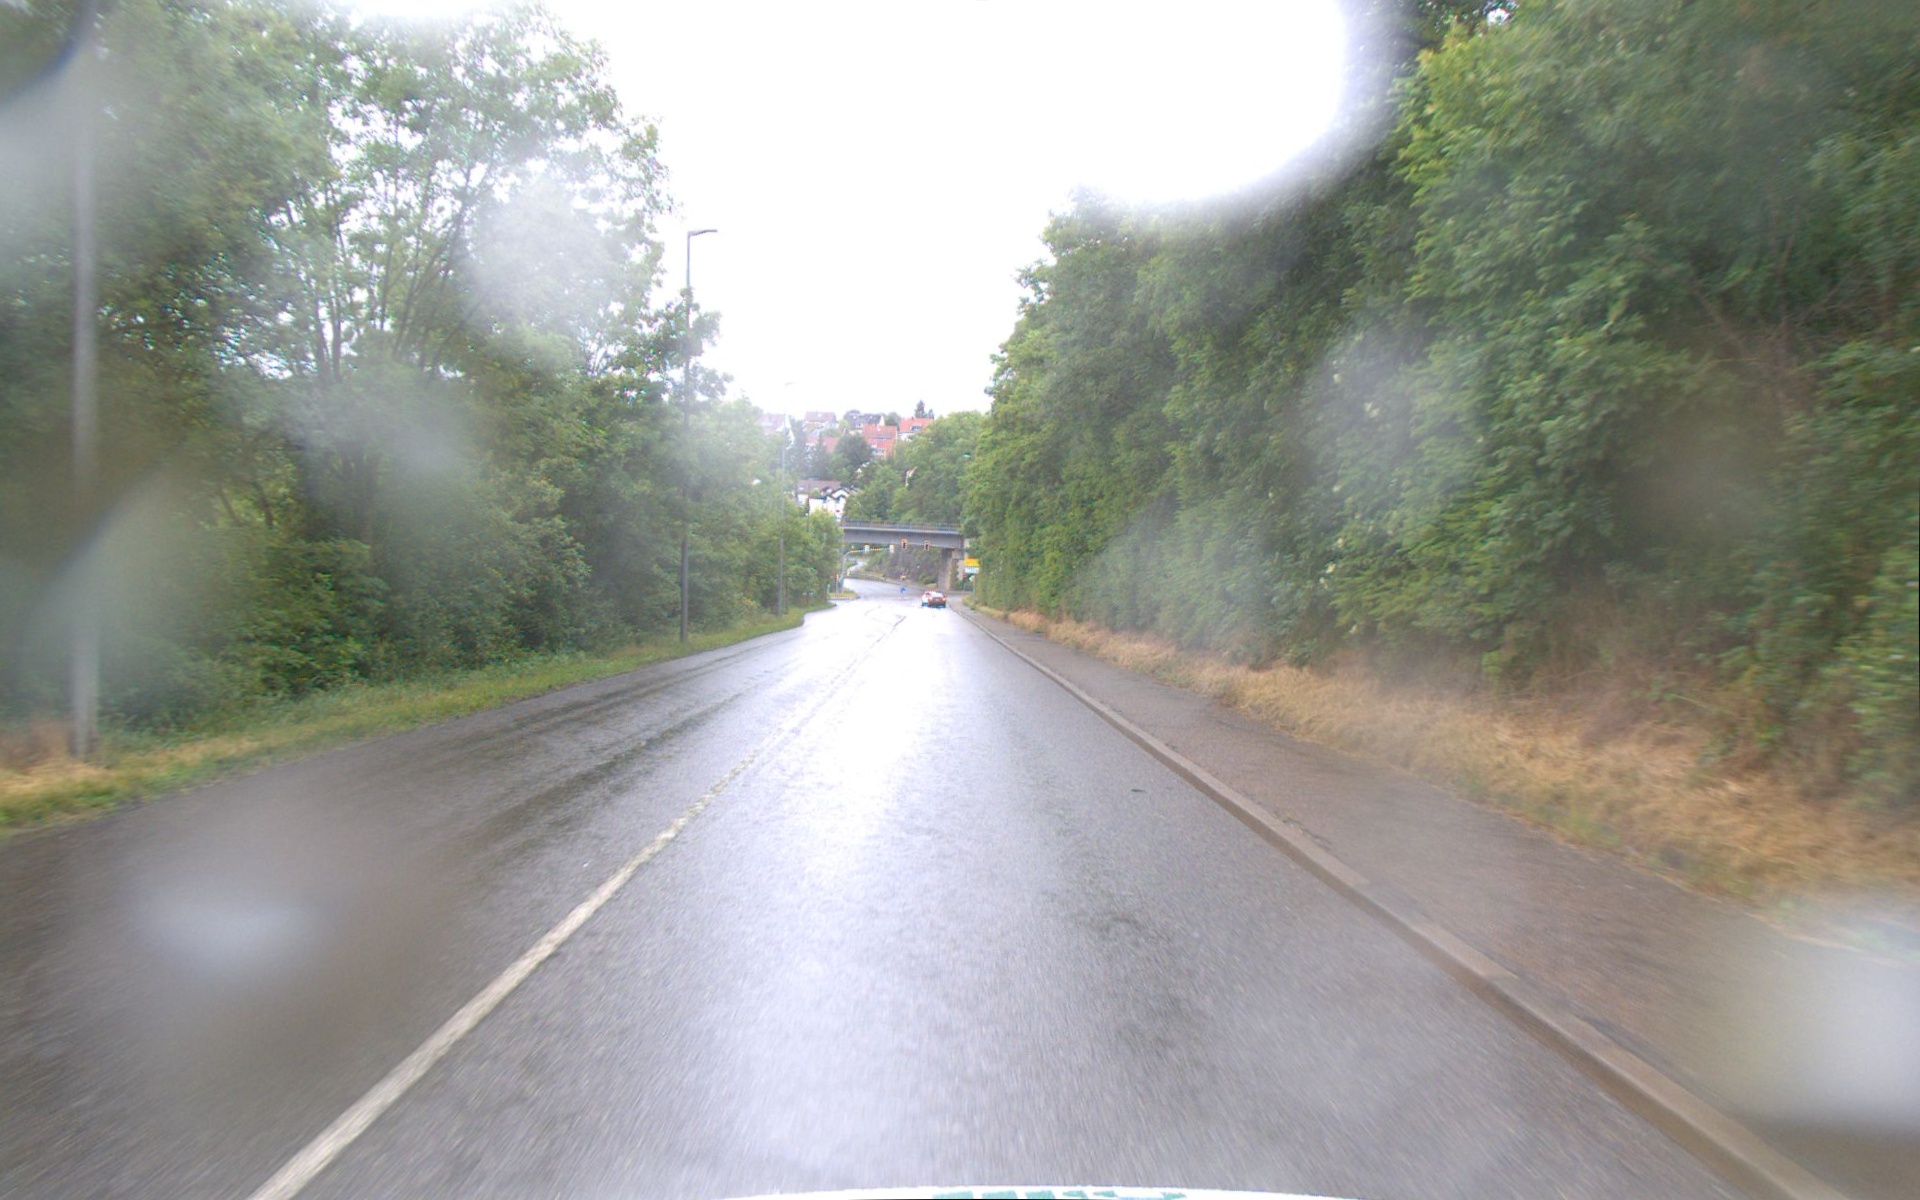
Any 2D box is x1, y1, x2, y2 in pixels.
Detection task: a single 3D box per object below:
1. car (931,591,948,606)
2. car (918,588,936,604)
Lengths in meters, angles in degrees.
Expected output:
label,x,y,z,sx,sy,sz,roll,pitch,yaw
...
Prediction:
label,x,y,z,sx,sy,sz,roll,pitch,yaw
car,-2.019,-0.140,163.409,1.732,1.404,3.999,0,0,-1
car,-3.390,-0.423,170.145,1.732,1.590,3.999,0,0,-1
